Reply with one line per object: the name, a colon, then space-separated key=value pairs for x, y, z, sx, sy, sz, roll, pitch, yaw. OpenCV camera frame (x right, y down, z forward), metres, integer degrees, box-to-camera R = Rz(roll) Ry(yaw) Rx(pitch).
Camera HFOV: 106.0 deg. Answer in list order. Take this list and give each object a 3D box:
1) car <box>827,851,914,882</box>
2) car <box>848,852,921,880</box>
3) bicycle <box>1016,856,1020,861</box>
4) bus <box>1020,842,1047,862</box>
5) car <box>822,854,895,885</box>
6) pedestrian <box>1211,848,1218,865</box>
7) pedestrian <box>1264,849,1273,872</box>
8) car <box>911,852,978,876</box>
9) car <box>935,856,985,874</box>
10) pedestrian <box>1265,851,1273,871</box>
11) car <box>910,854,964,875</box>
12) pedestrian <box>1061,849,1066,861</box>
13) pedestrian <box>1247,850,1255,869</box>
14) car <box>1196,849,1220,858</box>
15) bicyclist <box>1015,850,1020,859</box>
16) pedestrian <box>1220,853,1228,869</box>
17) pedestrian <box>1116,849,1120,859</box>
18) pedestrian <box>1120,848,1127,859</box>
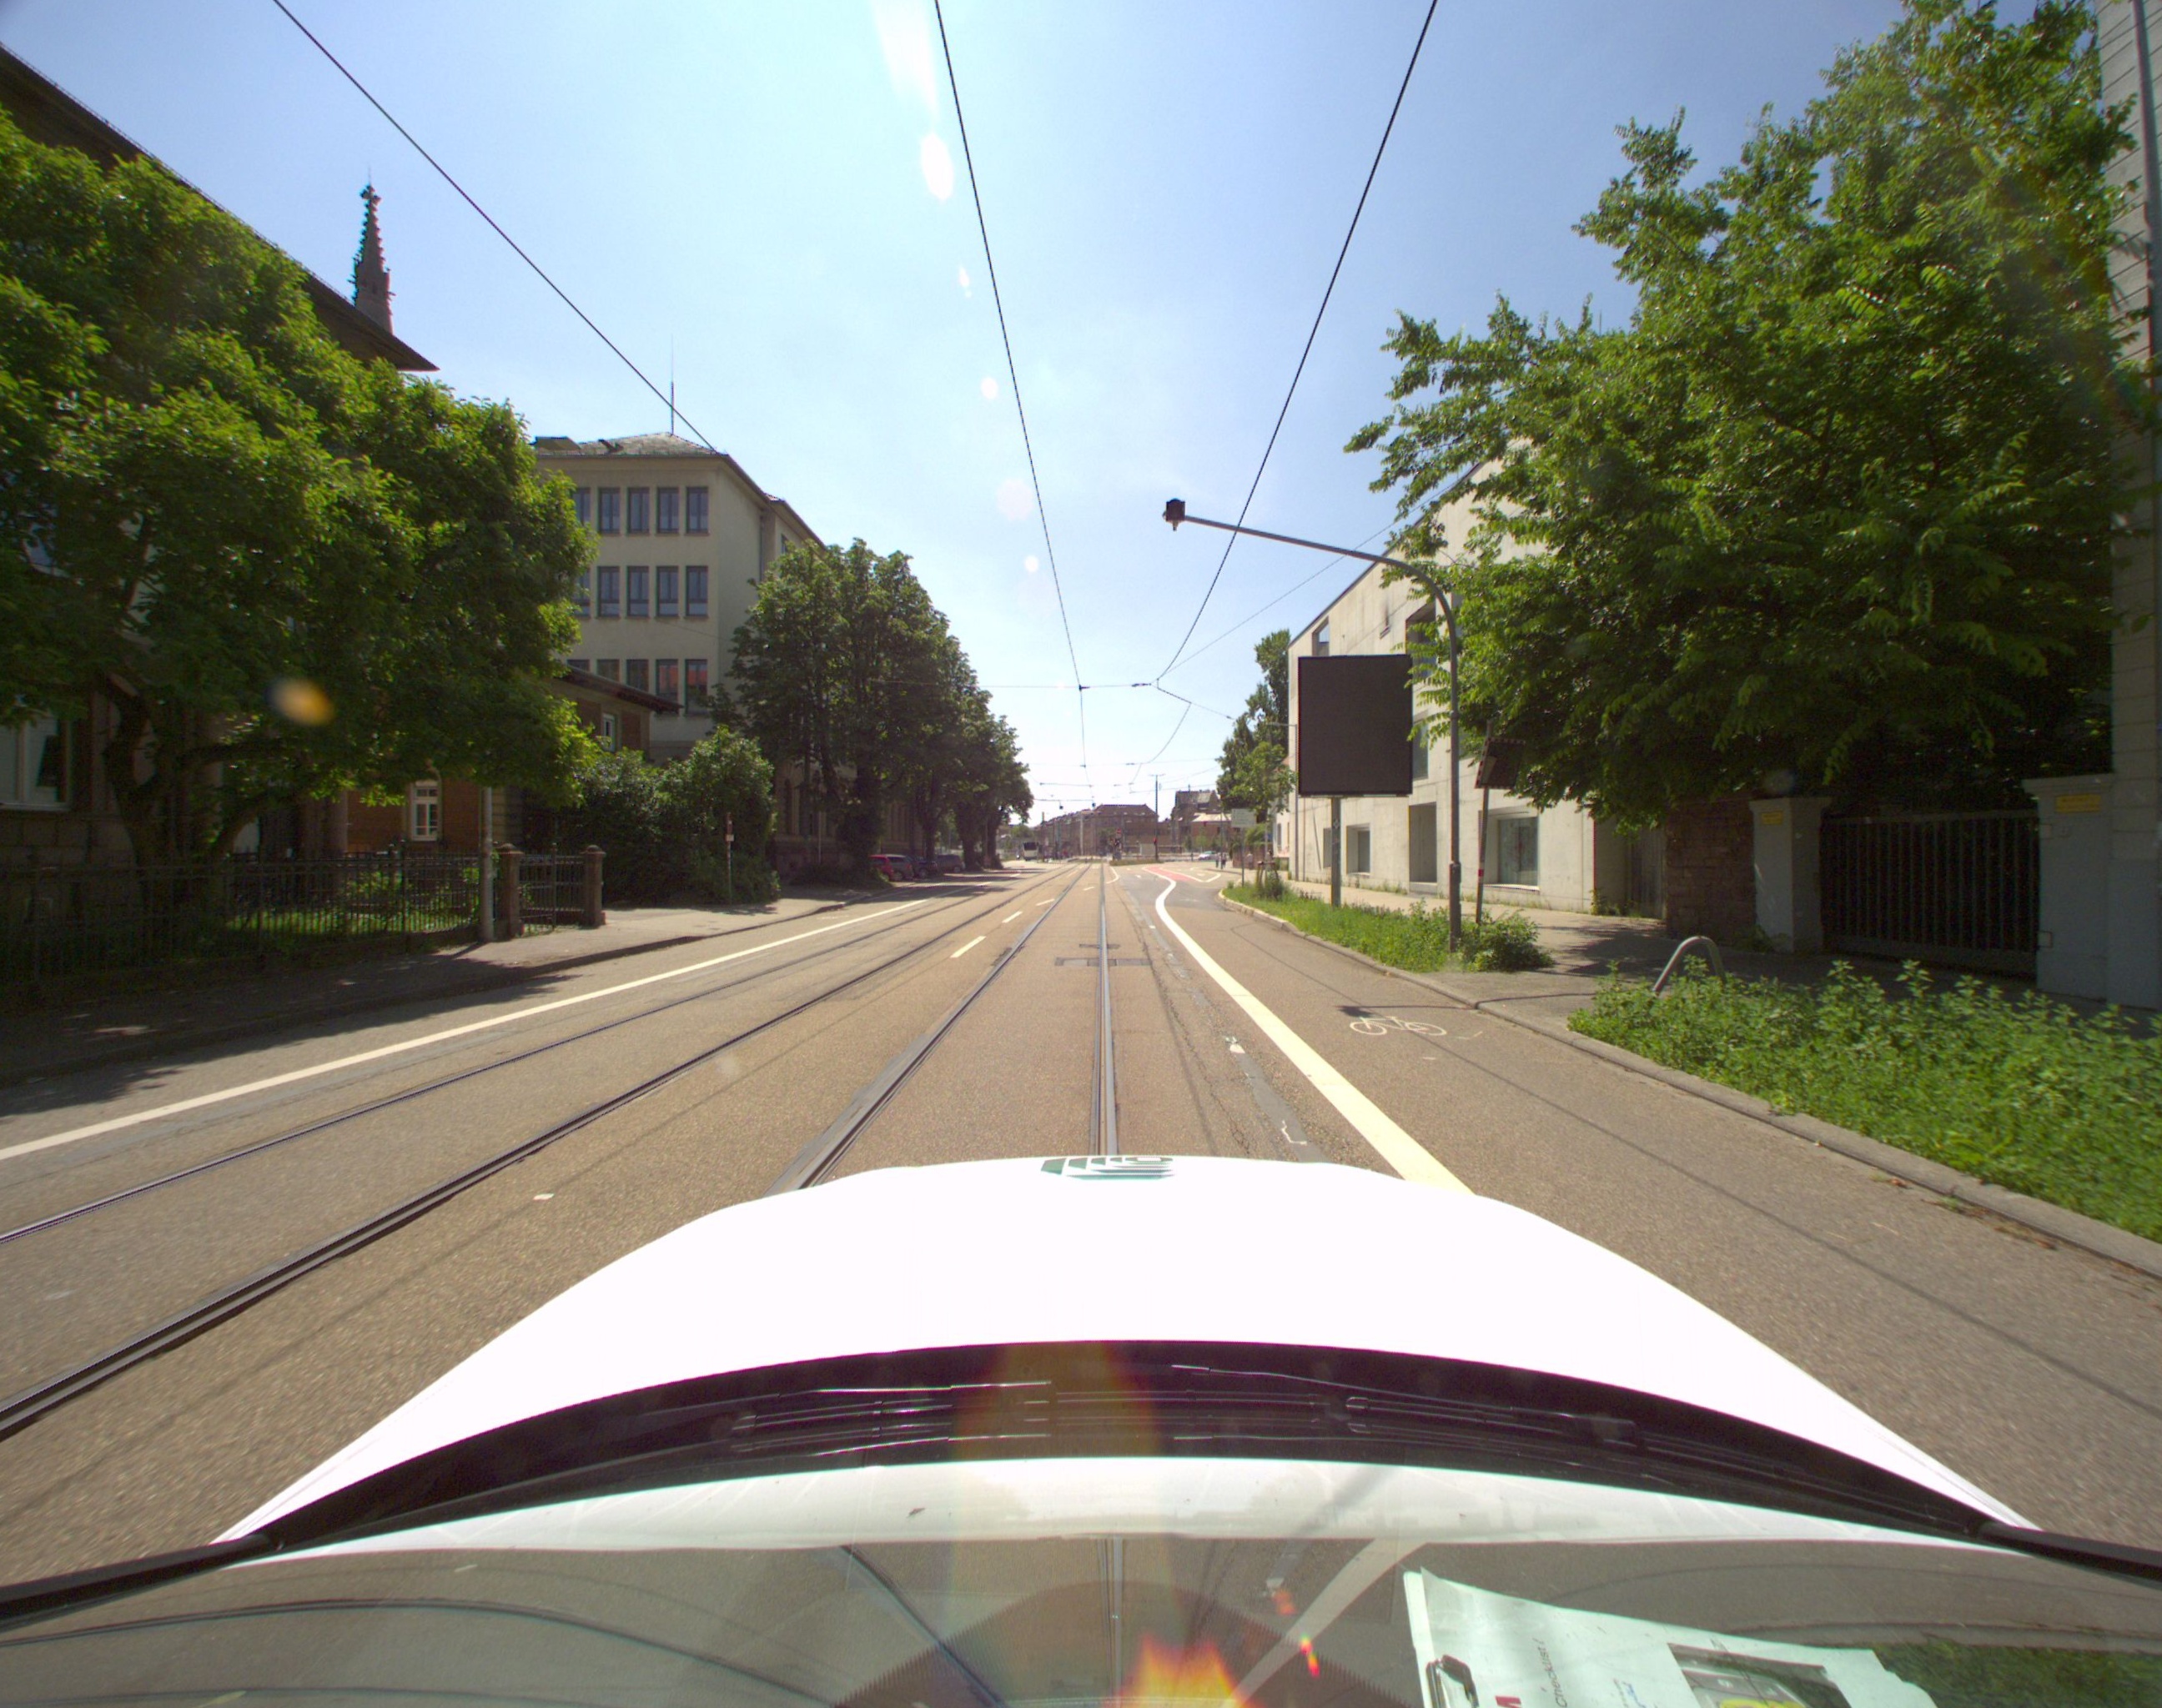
car: x=-11.476 y=0.682 z=44.508 sx=4.332 sy=1.584 sz=1.654 roll=1 pitch=0 yaw=-28
car: x=-11.414 y=0.665 z=47.420 sx=3.828 sy=1.577 sz=1.777 roll=-1 pitch=0 yaw=-28
bicycle: x=-11.948 y=0.893 z=153.951 sx=0.502 sy=0.914 sz=2.370 roll=0 pitch=0 yaw=0
bus: x=-8.116 y=-0.335 z=140.691 sx=2.998 sy=3.158 sz=17.507 roll=0 pitch=0 yaw=2
car: x=-11.317 y=0.749 z=41.427 sx=3.357 sy=1.516 sz=1.656 roll=0 pitch=0 yaw=-25
pedestrian: x=14.746 y=0.286 z=89.777 sx=0.674 sy=1.808 sz=0.749 roll=-1 pitch=0 yaw=6
pedestrian: x=15.040 y=0.504 z=65.259 sx=0.622 sy=1.773 sz=0.721 roll=1 pitch=-2 yaw=15
car: x=-8.631 y=0.611 z=51.529 sx=3.939 sy=1.374 sz=1.656 roll=-1 pitch=0 yaw=-25
car: x=-9.519 y=0.837 z=64.056 sx=3.557 sy=1.406 sz=1.687 roll=0 pitch=0 yaw=-27
pedestrian: x=15.051 y=0.552 z=65.294 sx=0.513 sy=1.532 sz=0.599 roll=-1 pitch=0 yaw=6
car: x=-10.767 y=0.766 z=61.009 sx=3.684 sy=1.520 sz=1.655 roll=1 pitch=0 yaw=-27
pedestrian: x=-2.777 y=0.146 z=129.046 sx=0.672 sy=1.909 sz=0.639 roll=-1 pitch=0 yaw=-8
pedestrian: x=14.768 y=0.455 z=70.783 sx=0.657 sy=1.647 sz=0.625 roll=-1 pitch=0 yaw=6
car: x=20.485 y=-0.086 z=131.221 sx=1.974 sy=1.438 sz=4.735 roll=-1 pitch=0 yaw=35
bicyclist: x=-11.942 y=0.100 z=153.996 sx=0.818 sy=1.709 sz=0.770 roll=0 pitch=0 yaw=0
pedestrian: x=15.679 y=0.752 z=89.519 sx=0.810 sy=1.808 sz=0.701 roll=-1 pitch=0 yaw=5
pedestrian: x=5.847 y=-0.006 z=130.008 sx=0.526 sy=1.675 sz=0.750 roll=0 pitch=-1 yaw=-6
pedestrian: x=7.199 y=-0.051 z=138.254 sx=0.771 sy=1.864 sz=0.722 roll=1 pitch=-1 yaw=-39
